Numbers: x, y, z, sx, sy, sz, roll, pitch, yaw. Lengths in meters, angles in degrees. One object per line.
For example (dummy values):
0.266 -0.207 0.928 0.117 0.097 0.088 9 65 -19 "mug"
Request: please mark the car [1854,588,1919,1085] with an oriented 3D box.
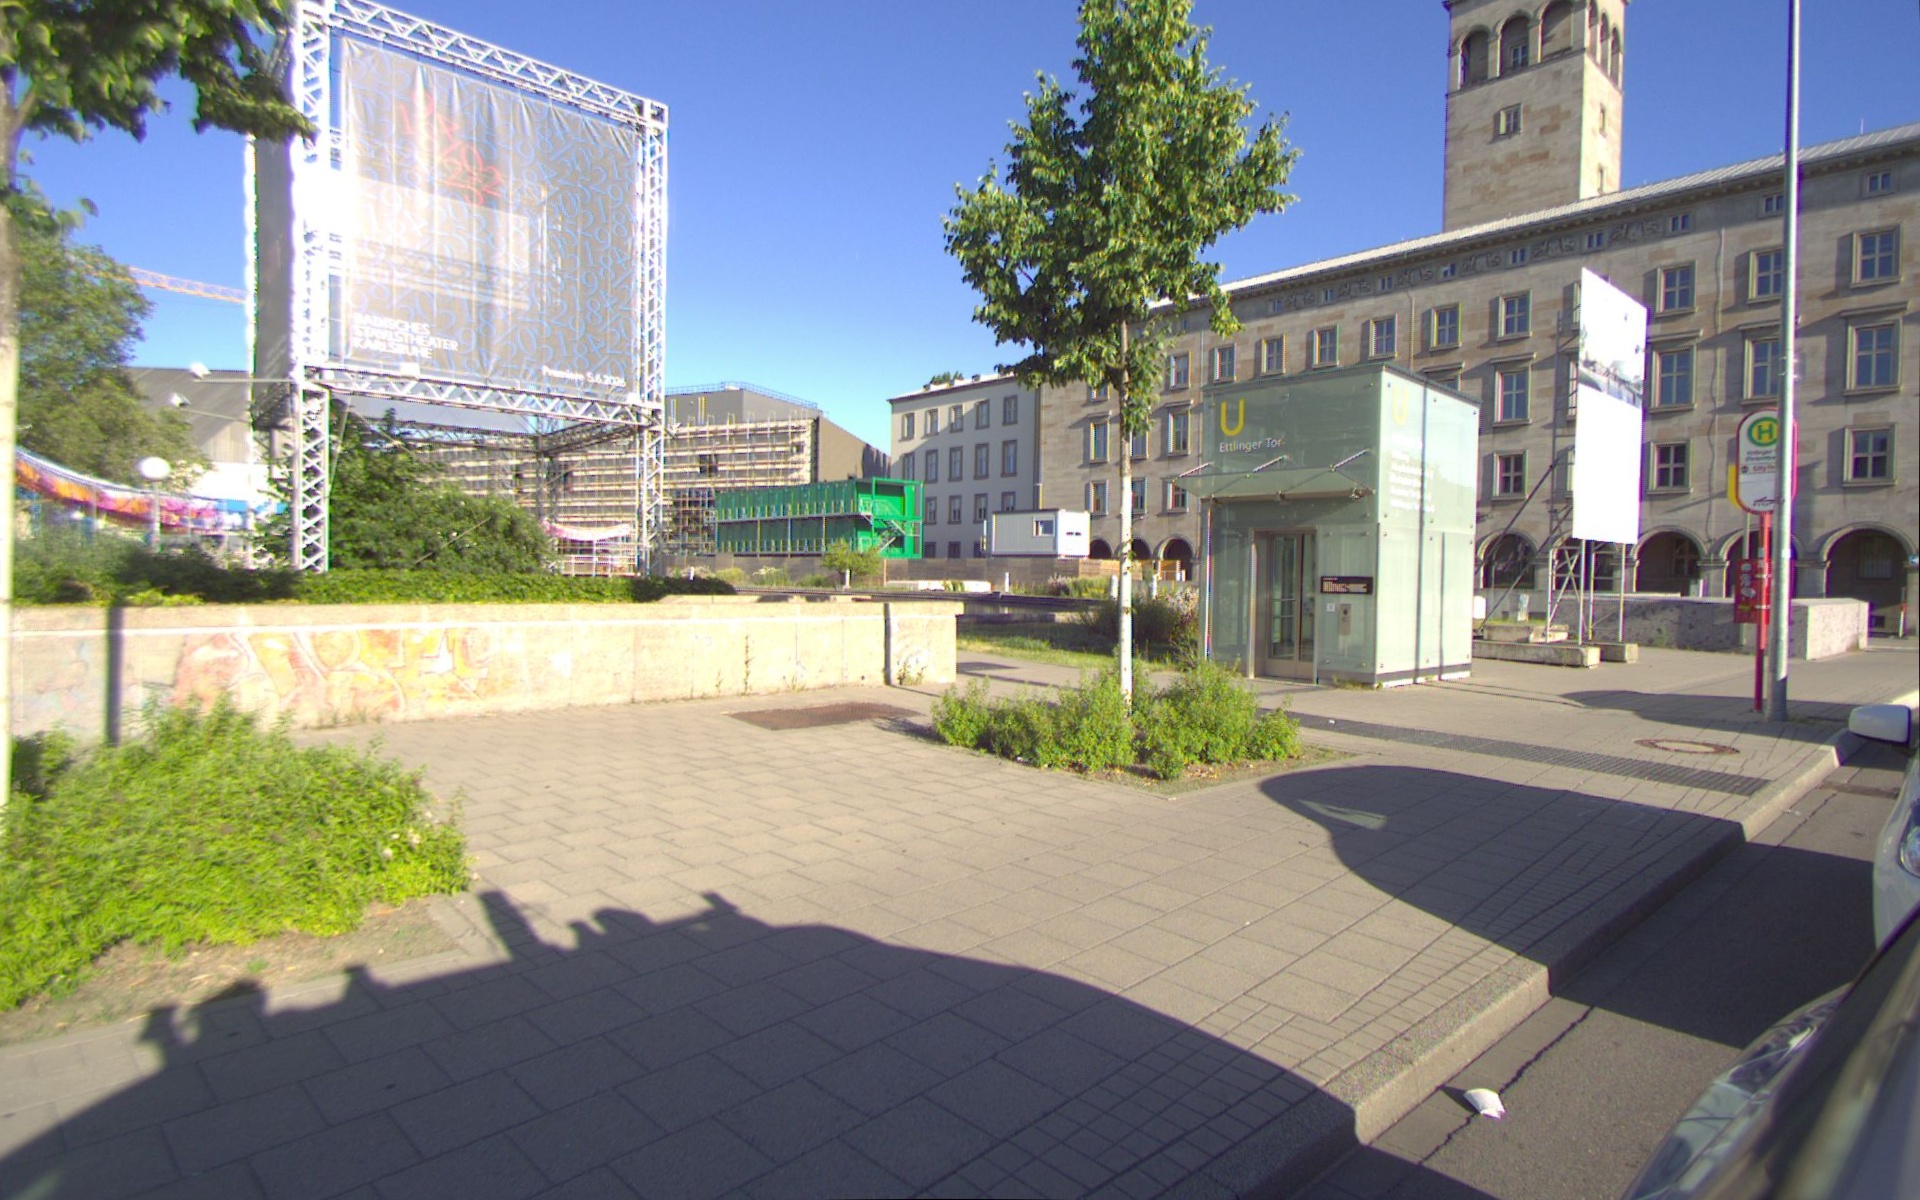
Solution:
4.793 0.698 3.790 3.899 1.490 1.658 0 0 -41 "car"
